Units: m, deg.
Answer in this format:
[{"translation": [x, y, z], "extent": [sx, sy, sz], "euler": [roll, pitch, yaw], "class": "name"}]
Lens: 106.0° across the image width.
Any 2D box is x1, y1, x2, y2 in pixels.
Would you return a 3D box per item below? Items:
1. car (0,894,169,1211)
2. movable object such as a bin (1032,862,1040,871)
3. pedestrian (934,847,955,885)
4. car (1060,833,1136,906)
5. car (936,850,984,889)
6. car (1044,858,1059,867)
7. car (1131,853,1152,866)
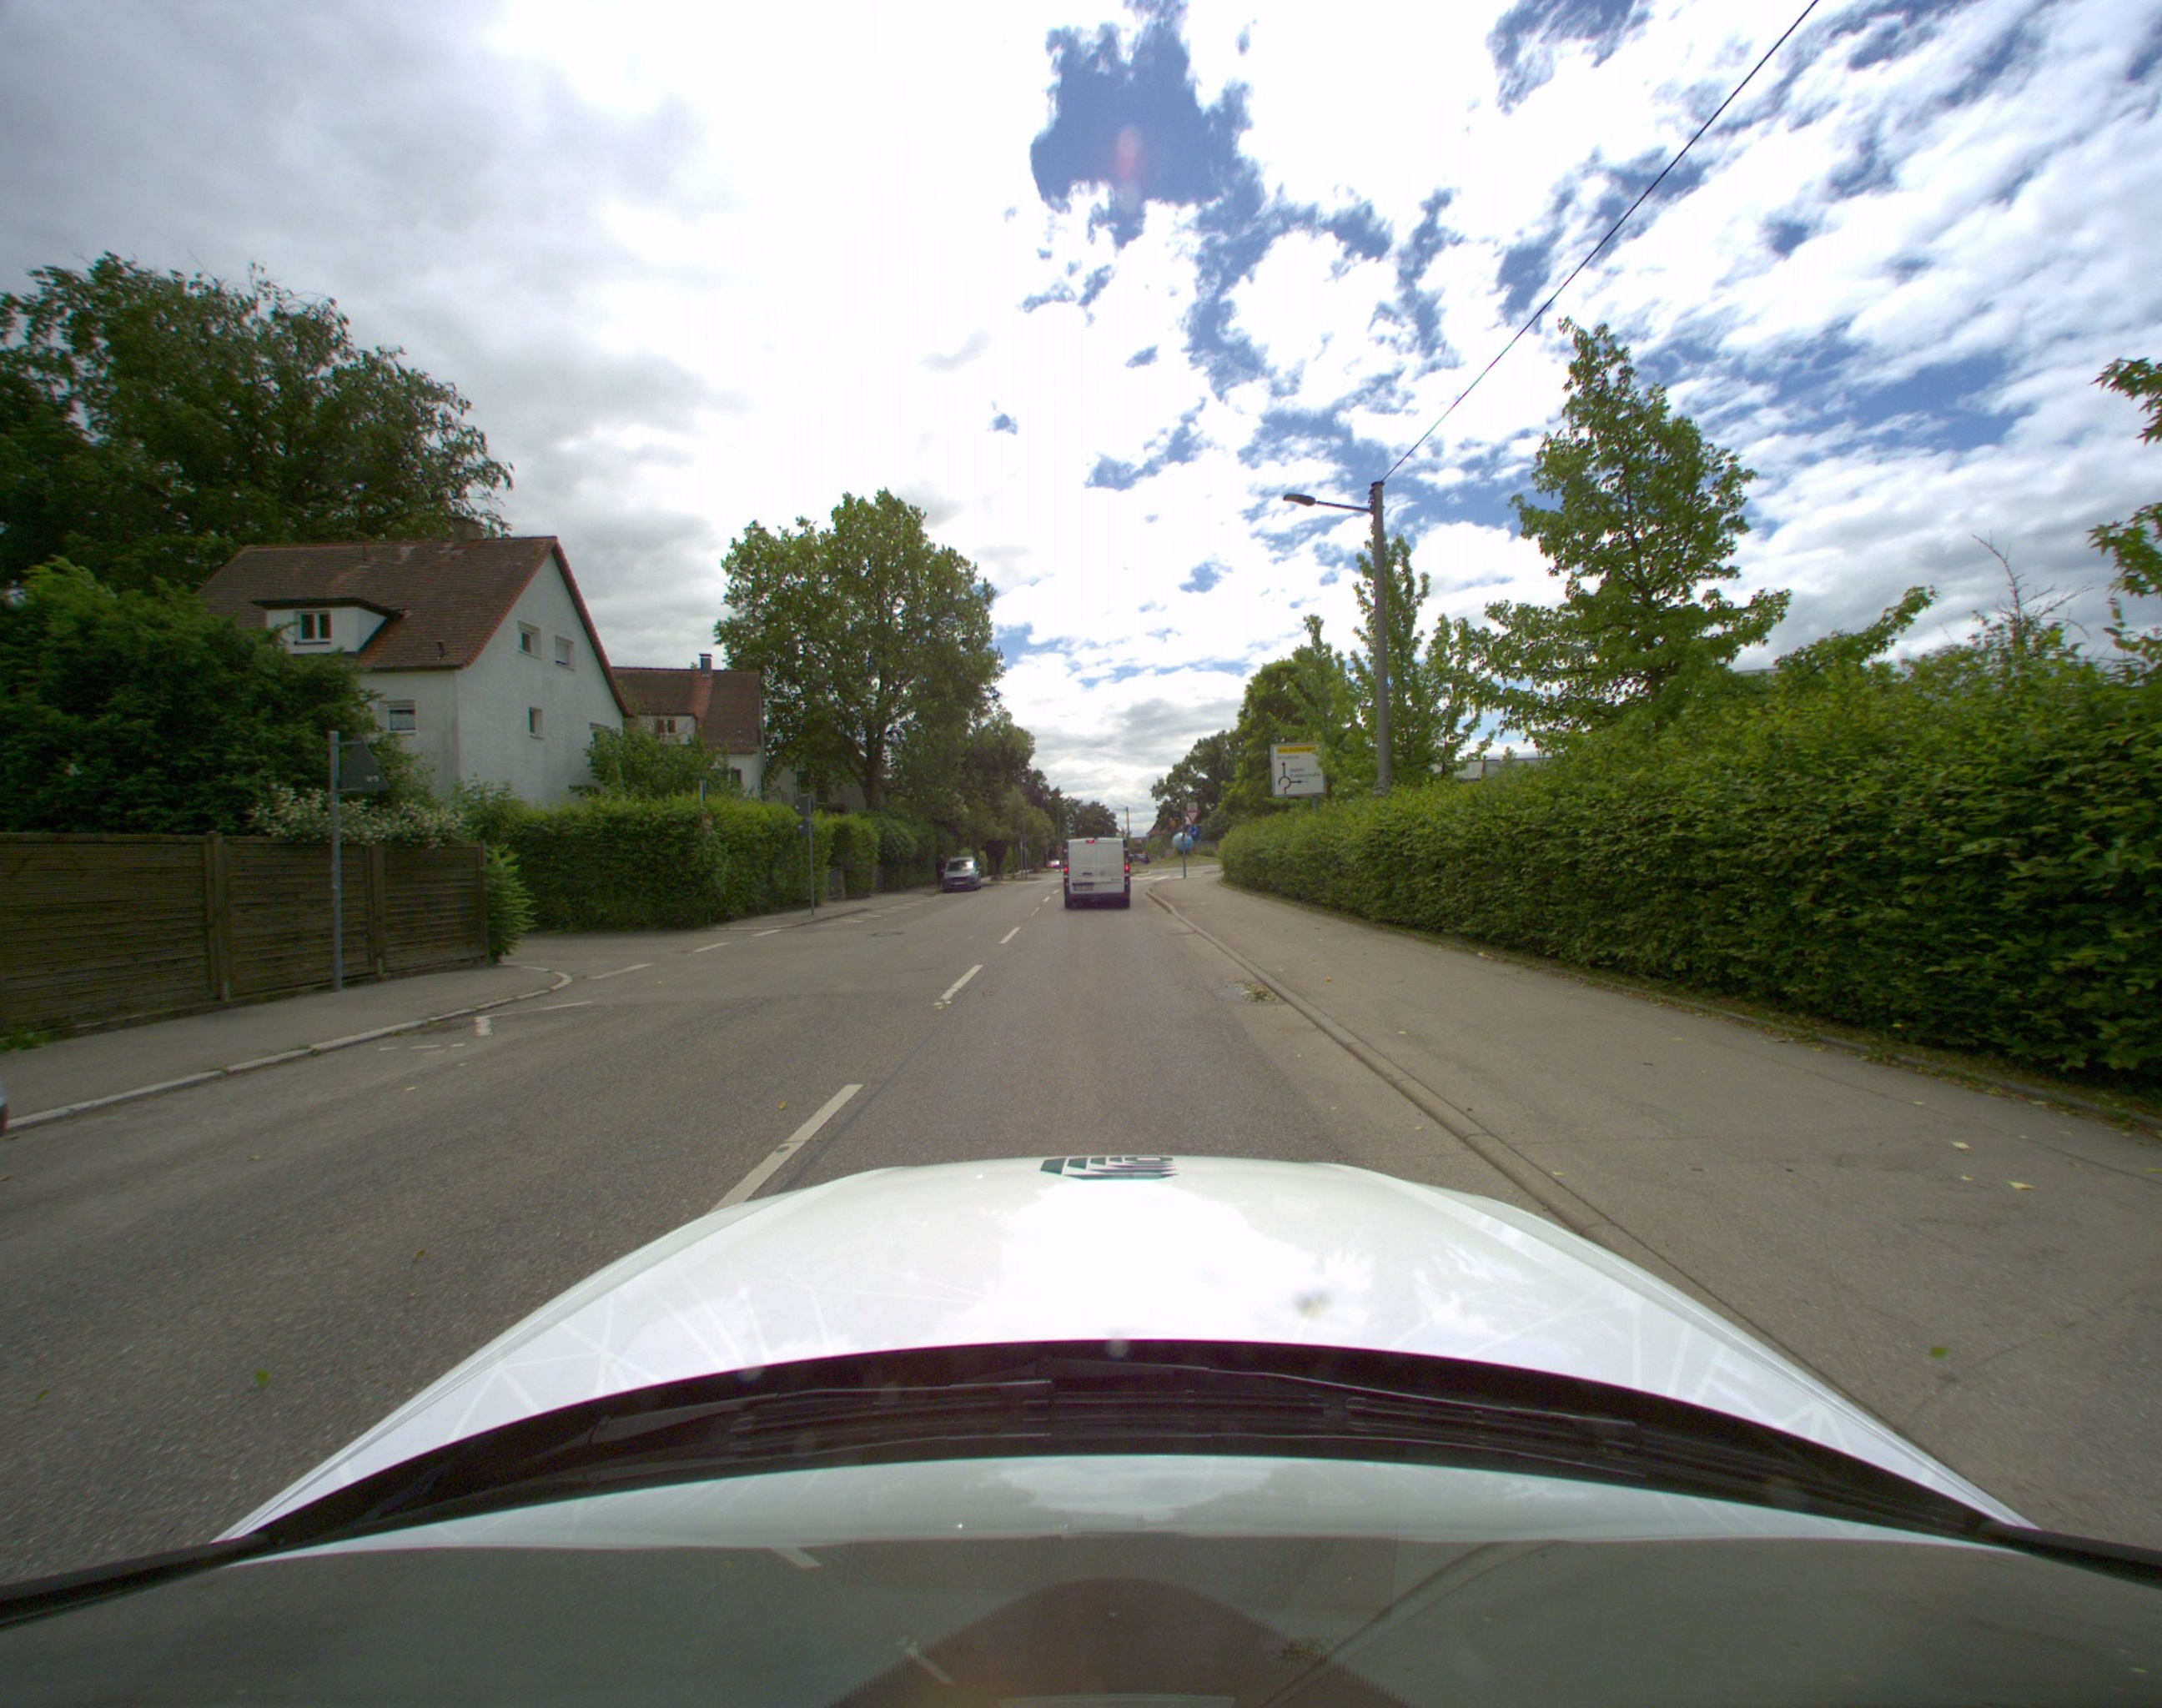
[{"translation": [-6.332, 1.041, 2.315], "extent": [1.984, 1.479, 4.652], "euler": [-3, 0, 4], "class": "car"}, {"translation": [-4.611, 1.246, 83.524], "extent": [0.625, 0.863, 0.642], "euler": [-4, 0, 12], "class": "movable object such as a bin"}, {"translation": [-7.467, 0.669, 44.666], "extent": [0.870, 2.013, 1.040], "euler": [-3, 0, -3], "class": "pedestrian"}, {"translation": [0.549, 0.388, 24.496], "extent": [2.027, 1.945, 4.996], "euler": [-1, 1, 2], "class": "car"}, {"translation": [-6.039, 0.730, 41.160], "extent": [2.129, 1.772, 4.456], "euler": [-1, 1, -6], "class": "car"}, {"translation": [-4.787, 1.332, 130.766], "extent": [2.062, 1.386, 4.036], "euler": [-2, 1, -8], "class": "car"}, {"translation": [7.719, 0.686, 104.220], "extent": [1.930, 1.537, 3.916], "euler": [-2, 1, -6], "class": "car"}]
